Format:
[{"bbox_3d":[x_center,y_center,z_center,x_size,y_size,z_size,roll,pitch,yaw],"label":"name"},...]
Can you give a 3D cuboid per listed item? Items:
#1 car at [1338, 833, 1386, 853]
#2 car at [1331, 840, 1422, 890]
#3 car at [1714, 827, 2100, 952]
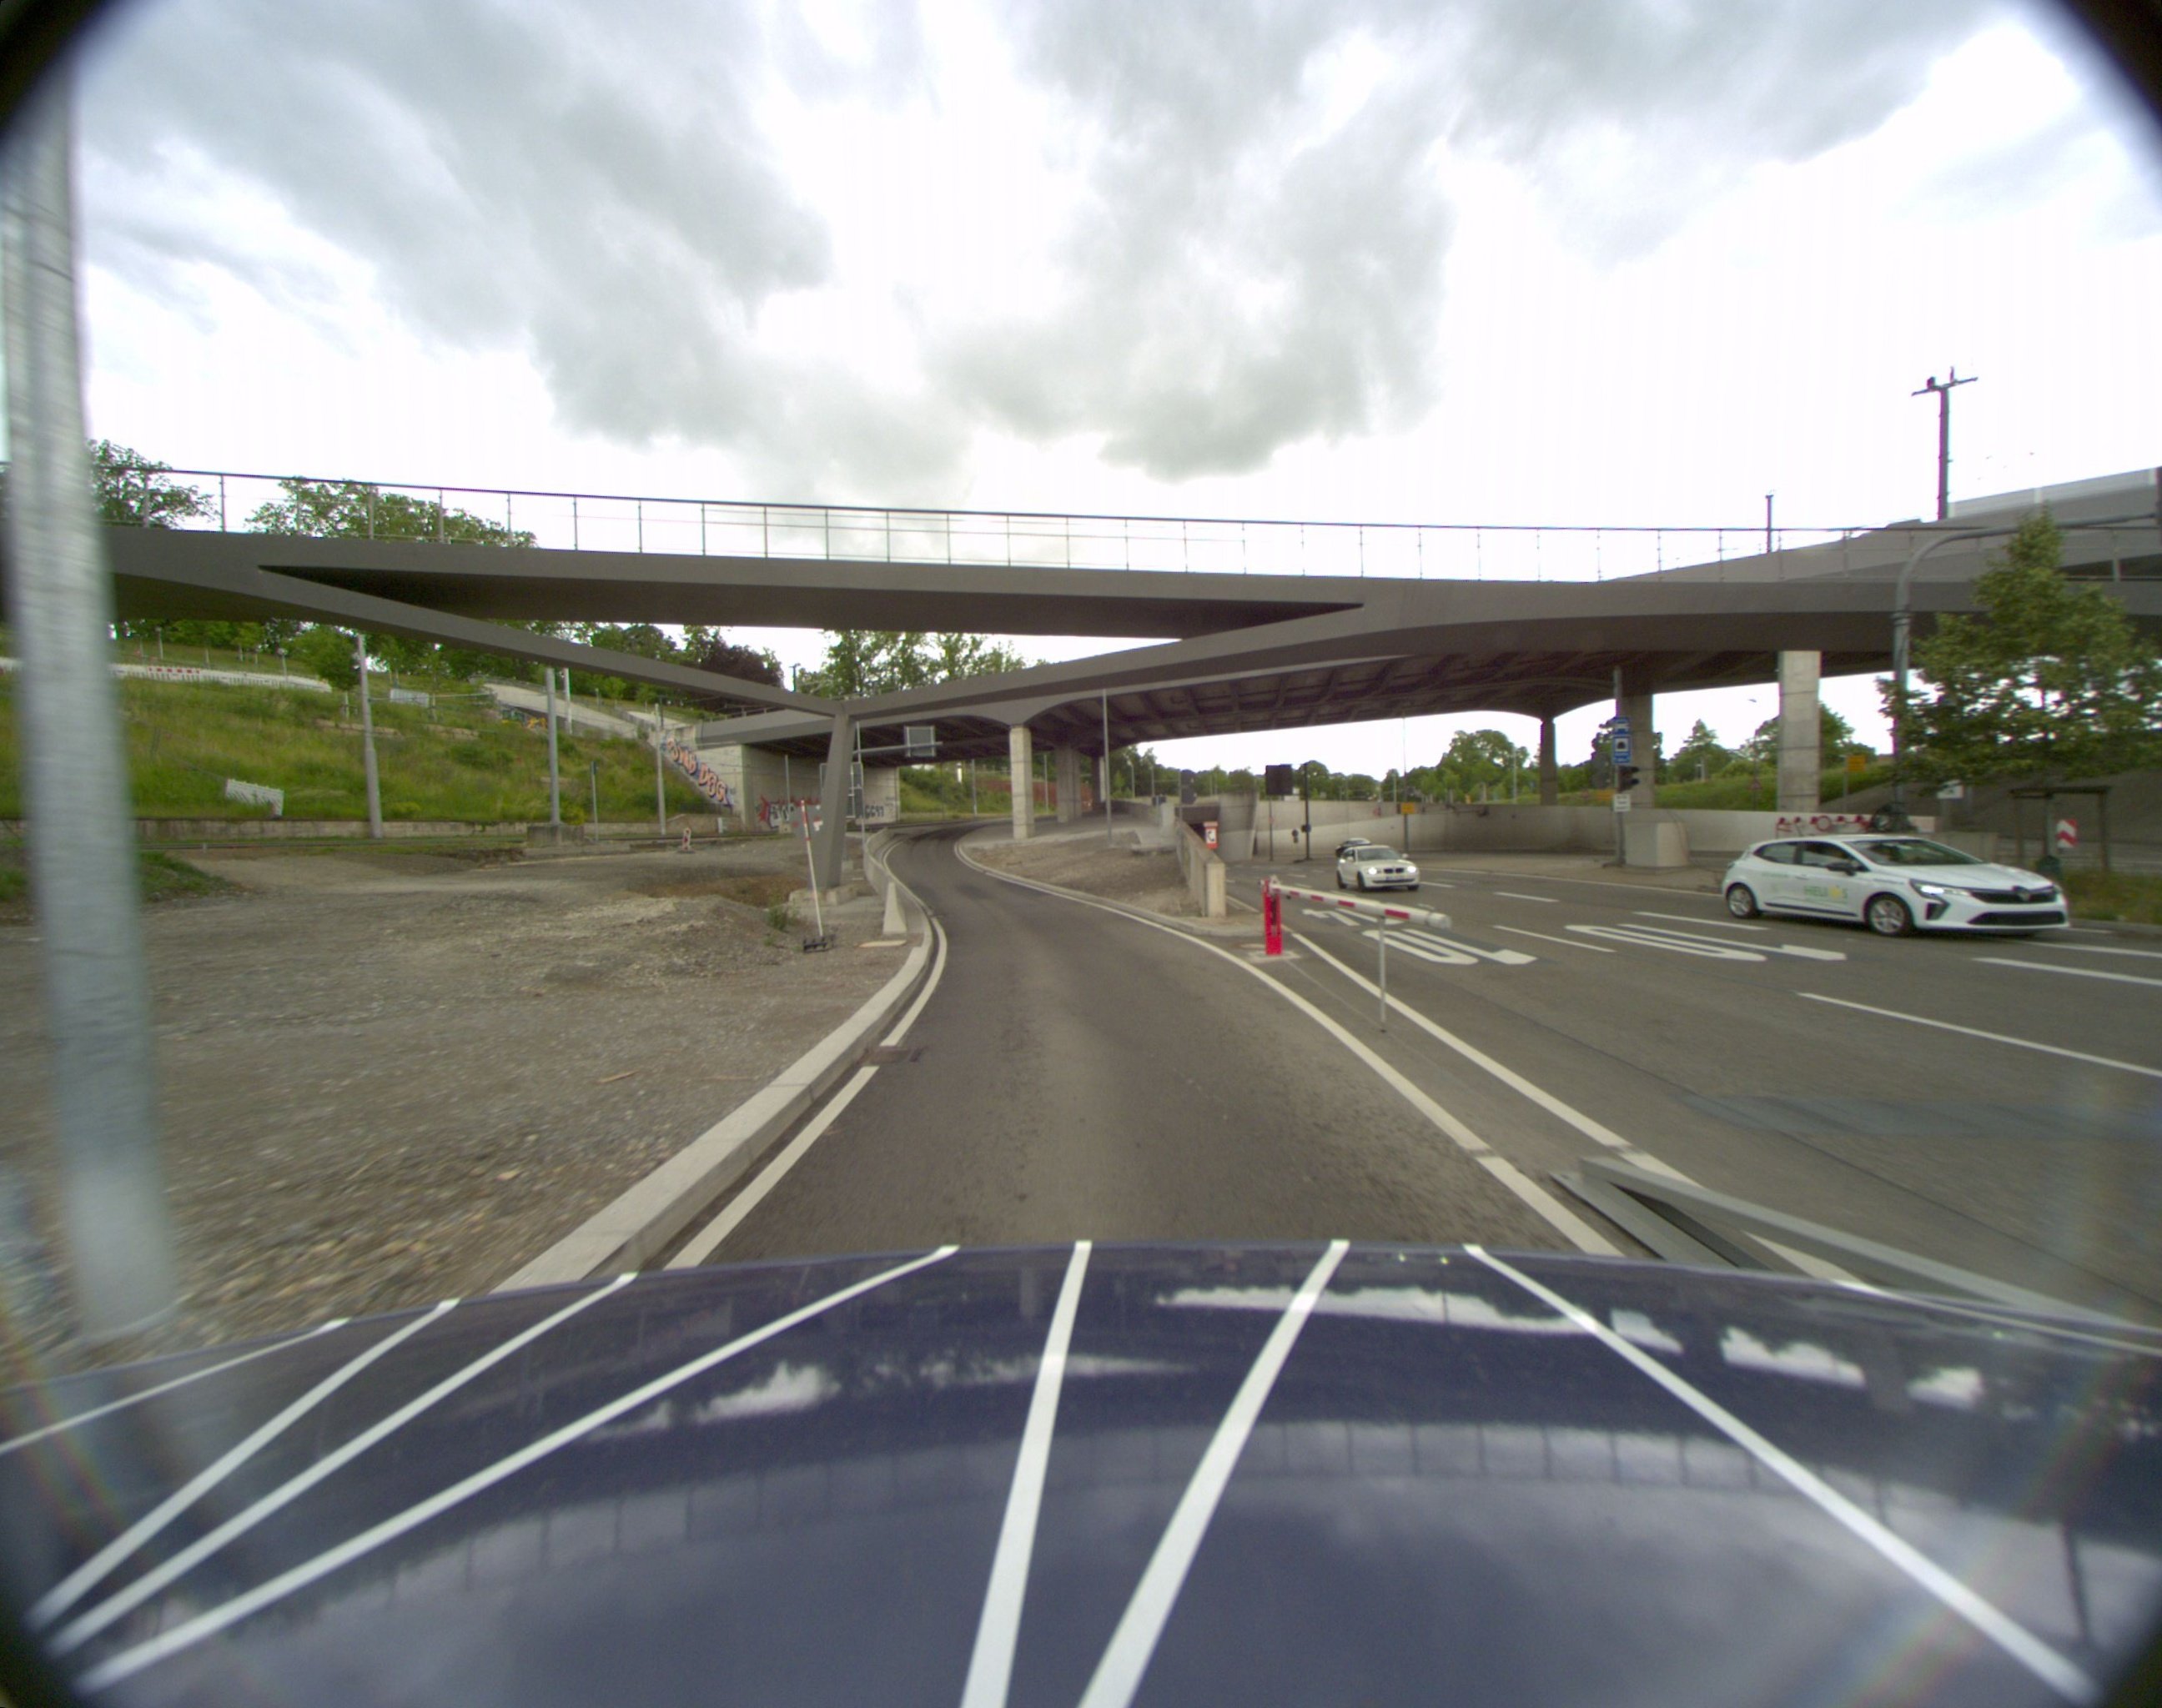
[{"bbox_3d":[21.831,-0.850,59.212,1.794,1.469,4.613,-2,1,-3],"label":"car"},{"bbox_3d":[9.516,0.322,24.771,1.642,1.424,3.983,-2,0,5],"label":"car"},{"bbox_3d":[11.915,0.400,11.429,1.579,1.476,3.997,-3,1,3],"label":"car"}]
